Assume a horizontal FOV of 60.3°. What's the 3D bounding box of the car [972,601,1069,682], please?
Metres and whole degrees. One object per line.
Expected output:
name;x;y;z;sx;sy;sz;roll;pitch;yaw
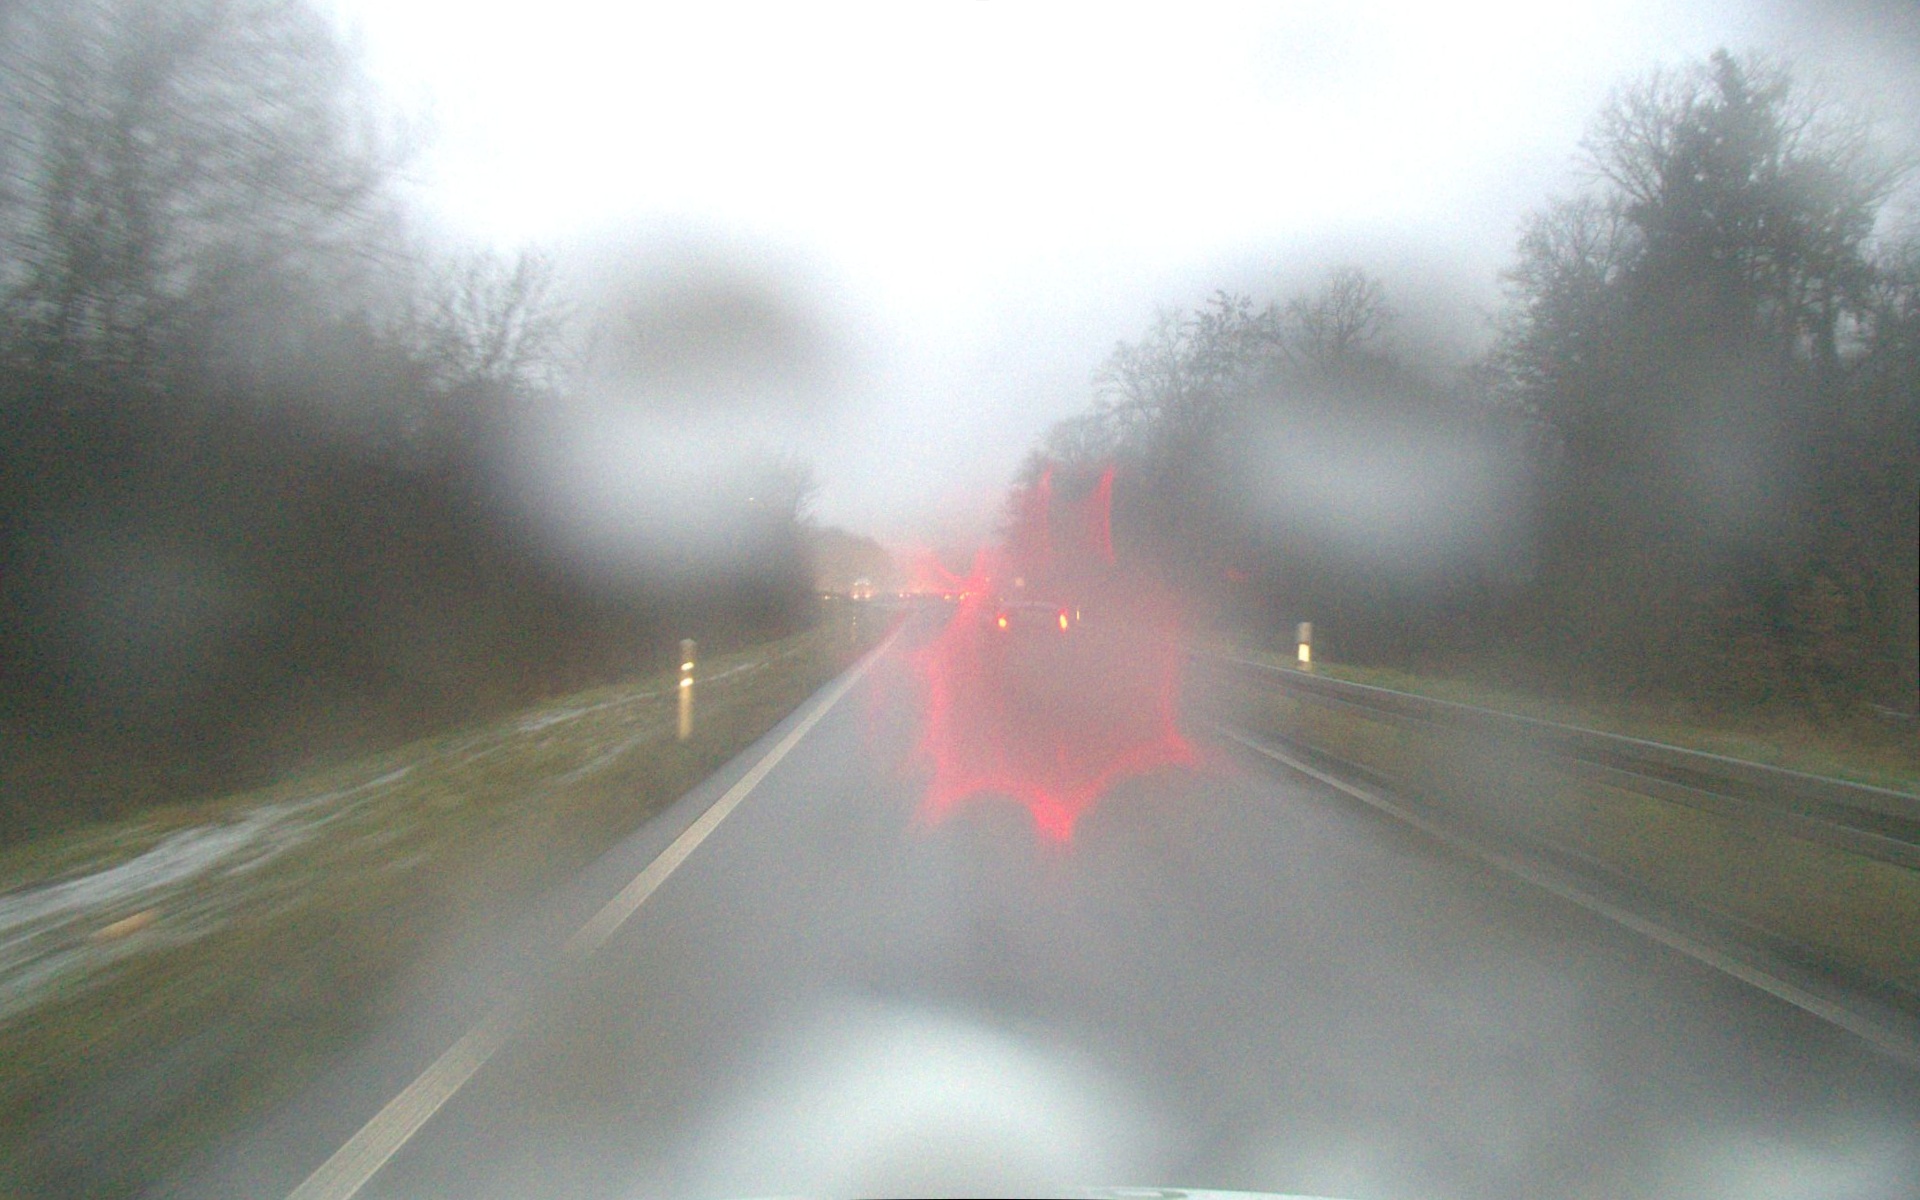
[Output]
car;1.136;0.792;32.727;1.697;1.454;3.764;-2;-1;-1
